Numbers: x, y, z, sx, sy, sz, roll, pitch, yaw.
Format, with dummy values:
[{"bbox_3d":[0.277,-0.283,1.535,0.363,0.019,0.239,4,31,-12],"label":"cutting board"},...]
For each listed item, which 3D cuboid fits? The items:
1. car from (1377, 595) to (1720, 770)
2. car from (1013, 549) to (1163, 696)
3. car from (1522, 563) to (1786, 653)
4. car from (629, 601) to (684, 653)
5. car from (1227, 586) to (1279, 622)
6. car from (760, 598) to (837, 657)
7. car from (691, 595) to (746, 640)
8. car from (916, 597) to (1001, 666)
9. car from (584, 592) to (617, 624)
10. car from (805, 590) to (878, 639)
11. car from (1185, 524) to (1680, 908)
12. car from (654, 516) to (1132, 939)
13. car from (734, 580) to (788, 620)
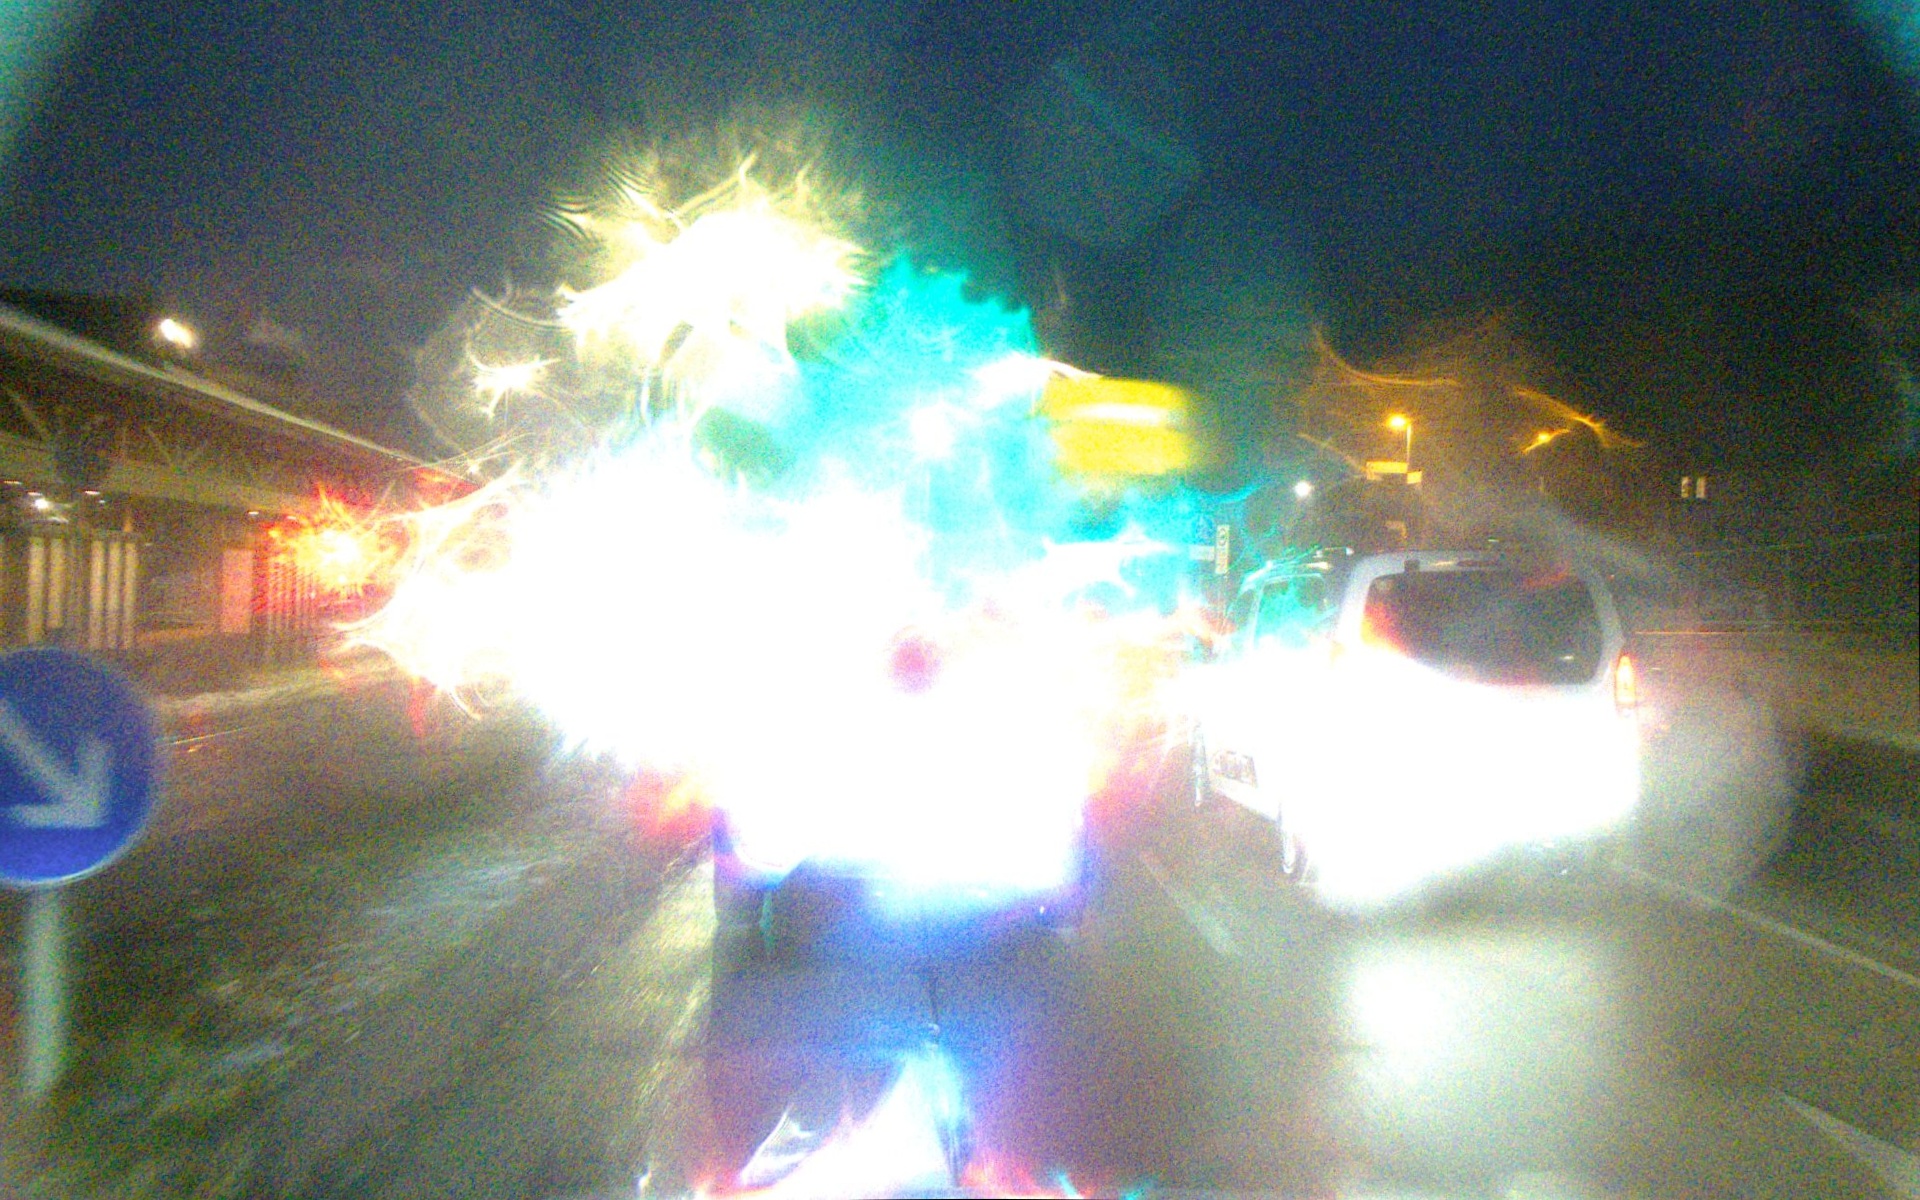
[{"bbox_3d":[5.621,0.702,16.397,1.749,1.467,4.236,0,0,-3],"label":"car"},{"bbox_3d":[1.914,0.338,25.862,1.929,2.082,3.999,1,0,-1],"label":"car"},{"bbox_3d":[12.489,0.126,29.808,4.244,1.485,1.849,1,0,28],"label":"car"},{"bbox_3d":[-12.551,1.080,68.281,1.980,1.920,4.437,2,1,-13],"label":"car"},{"bbox_3d":[14.690,0.203,83.118,1.827,1.675,3.962,-1,0,-1],"label":"car"},{"bbox_3d":[-5.202,0.851,52.903,1.959,1.763,3.987,1,0,-13],"label":"car"},{"bbox_3d":[-10.425,0.731,71.119,1.960,1.856,3.986,1,0,-14],"label":"car"},{"bbox_3d":[-0.087,0.823,44.585,1.954,1.748,3.996,1,0,-5],"label":"car"},{"bbox_3d":[-24.220,0.511,111.234,1.960,2.049,3.984,1,0,-15],"label":"car"},{"bbox_3d":[-4.383,0.523,60.631,1.960,1.699,3.984,1,0,-15],"label":"car"},{"bbox_3d":[2.676,0.596,10.494,1.814,1.897,4.339,1,0,-1],"label":"car"},{"bbox_3d":[-0.472,0.554,9.167,1.975,1.747,4.446,1,0,-5],"label":"car"},{"bbox_3d":[-9.762,0.013,80.932,1.961,1.852,3.982,1,0,-16],"label":"car"}]
